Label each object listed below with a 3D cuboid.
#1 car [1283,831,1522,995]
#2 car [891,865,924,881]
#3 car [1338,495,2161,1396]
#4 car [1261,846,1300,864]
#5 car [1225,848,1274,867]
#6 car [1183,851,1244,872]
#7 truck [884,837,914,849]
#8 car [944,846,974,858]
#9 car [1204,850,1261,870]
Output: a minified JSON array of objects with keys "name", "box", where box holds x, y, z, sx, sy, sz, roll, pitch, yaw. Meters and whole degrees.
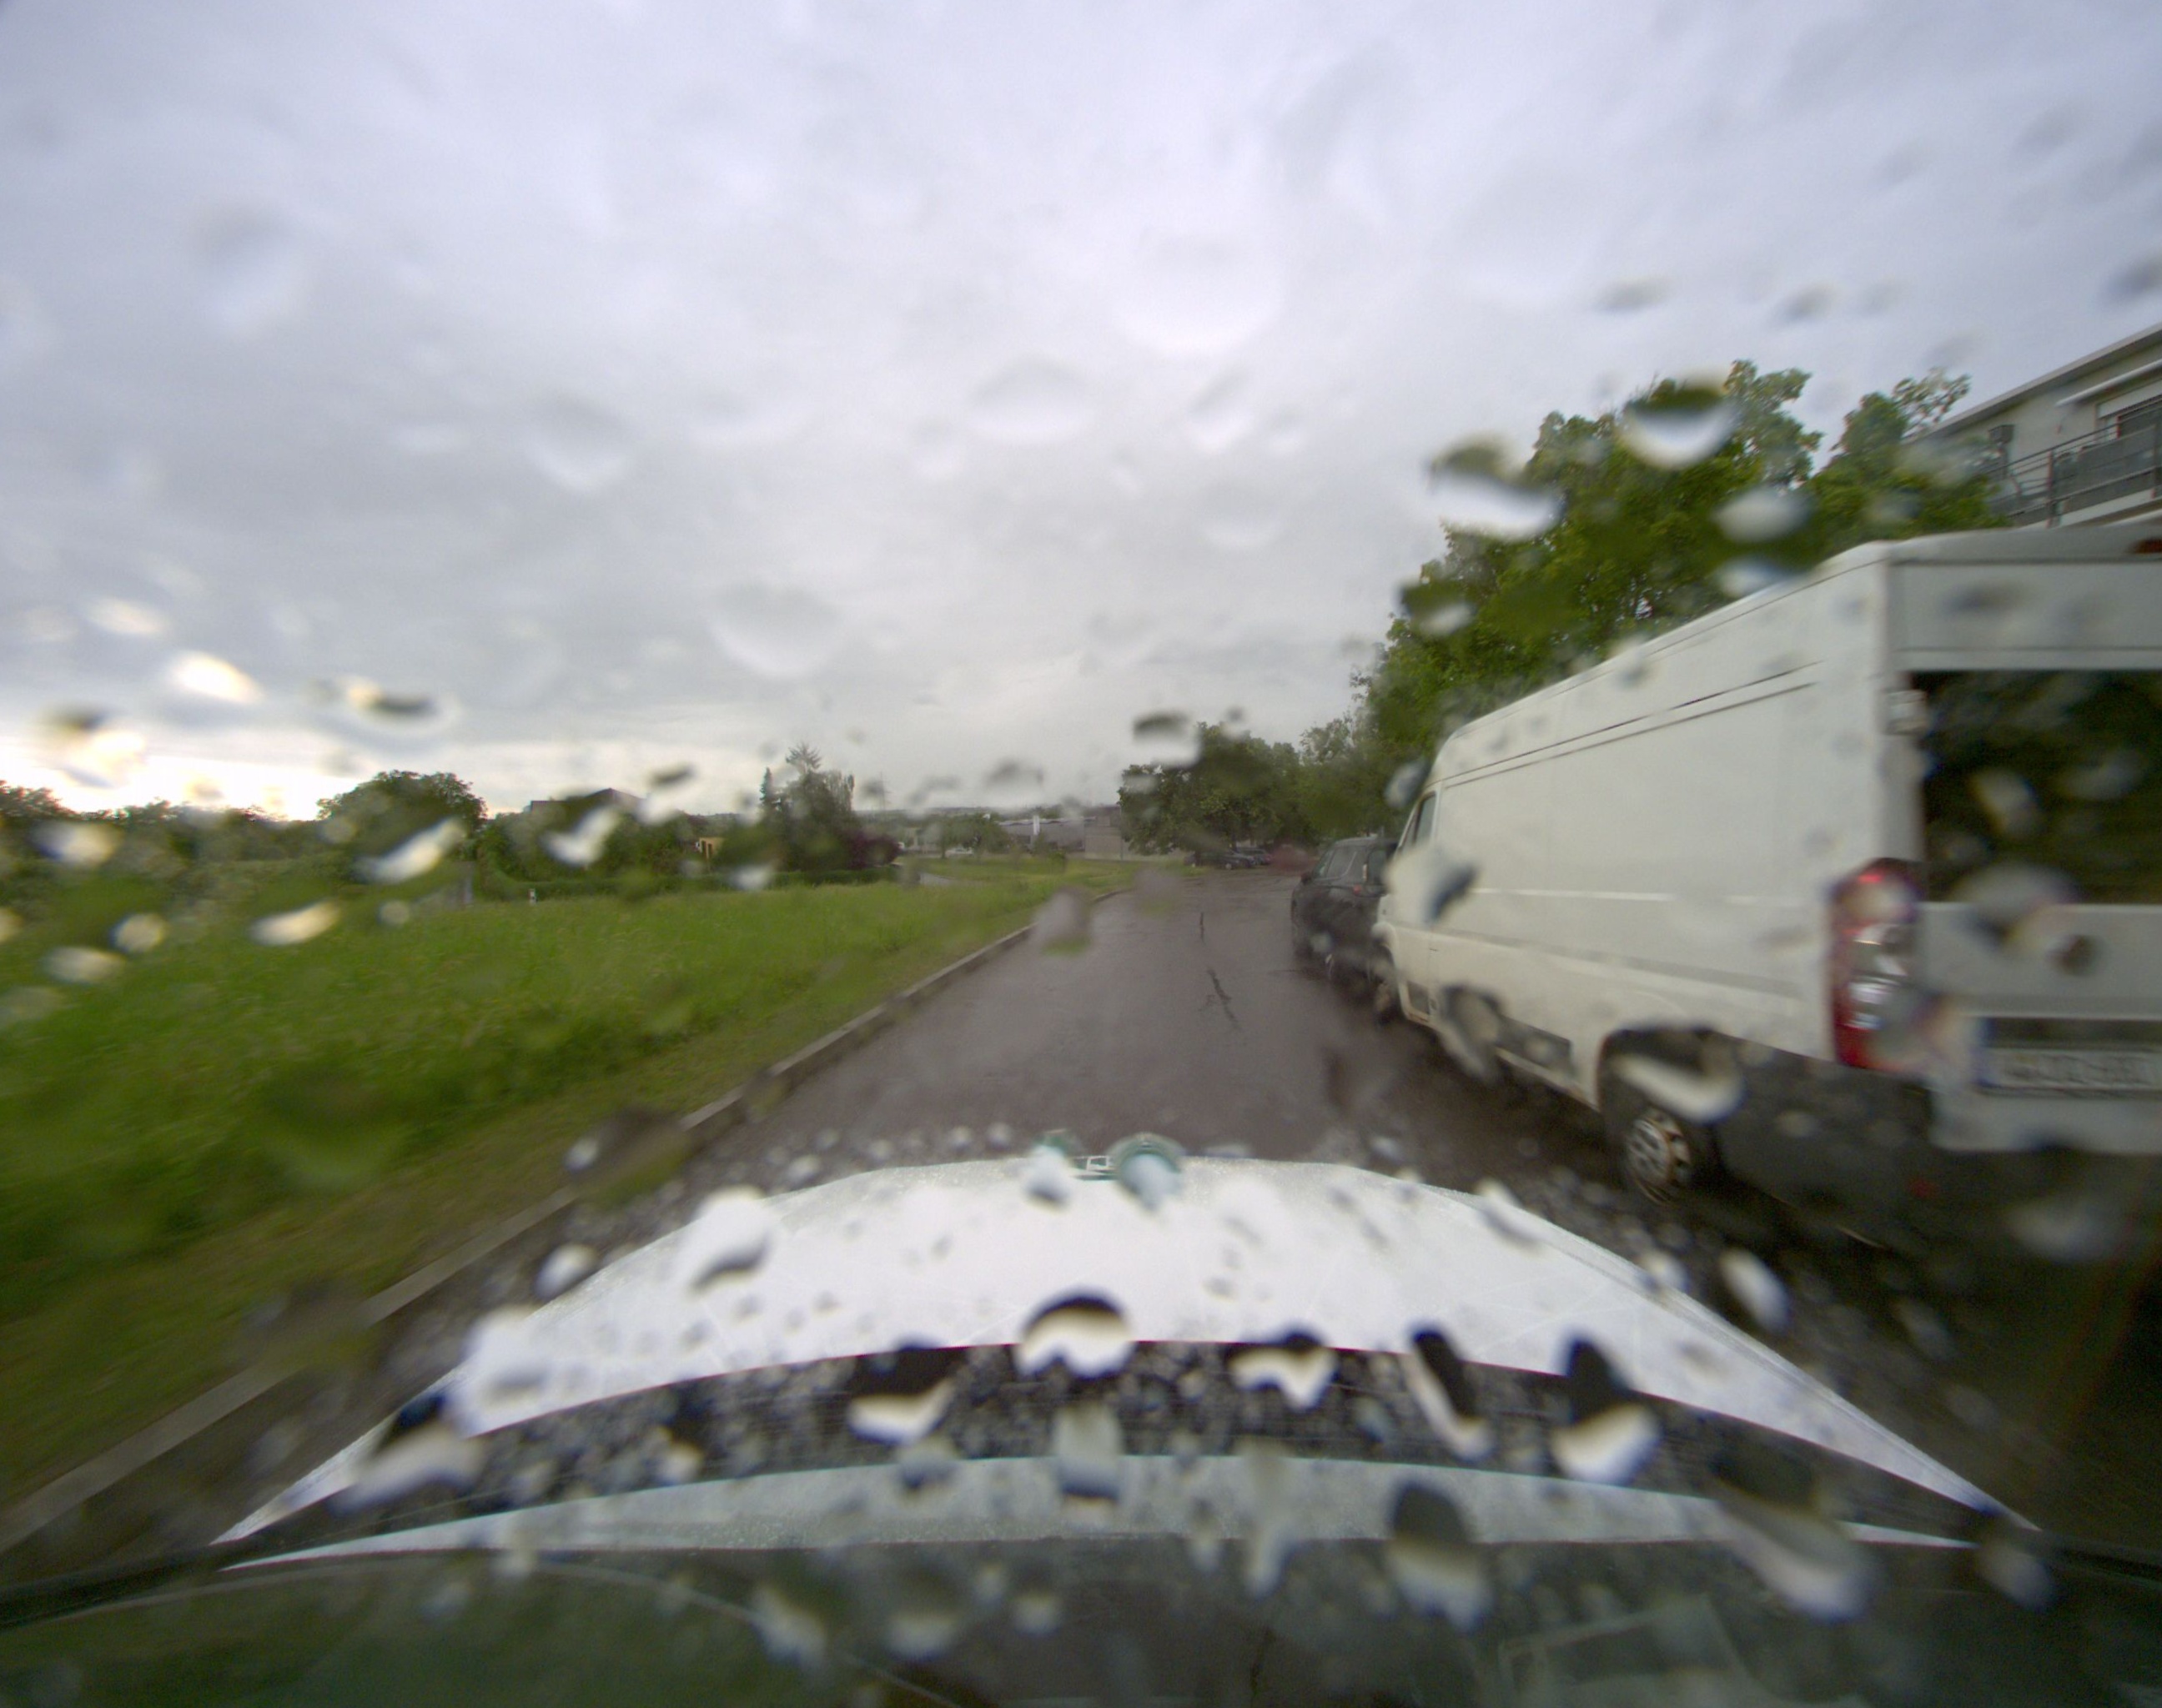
[{"name":"car","box":[3.918,0.598,10.817,1.800,1.703,4.607,0,1,6]},{"name":"car","box":[-18.451,2.018,86.487,1.790,1.596,3.954,-2,1,-39]},{"name":"car","box":[3.371,0.241,4.973,2.109,2.467,5.514,-1,0,3]},{"name":"car","box":[19.928,0.115,81.409,3.530,1.605,1.702,-3,0,22]},{"name":"car","box":[14.365,0.265,69.262,3.838,1.547,1.782,-1,0,18]},{"name":"car","box":[9.739,0.542,59.861,4.131,1.355,1.871,-3,0,19]},{"name":"truck","box":[-36.540,-2.115,163.144,5.349,2.308,2.410,0,2,-34]},{"name":"car","box":[-19.702,-0.315,131.514,4.292,1.701,1.779,1,2,-34]},{"name":"car","box":[11.492,0.457,61.814,3.954,1.361,1.863,-3,0,19]}]
